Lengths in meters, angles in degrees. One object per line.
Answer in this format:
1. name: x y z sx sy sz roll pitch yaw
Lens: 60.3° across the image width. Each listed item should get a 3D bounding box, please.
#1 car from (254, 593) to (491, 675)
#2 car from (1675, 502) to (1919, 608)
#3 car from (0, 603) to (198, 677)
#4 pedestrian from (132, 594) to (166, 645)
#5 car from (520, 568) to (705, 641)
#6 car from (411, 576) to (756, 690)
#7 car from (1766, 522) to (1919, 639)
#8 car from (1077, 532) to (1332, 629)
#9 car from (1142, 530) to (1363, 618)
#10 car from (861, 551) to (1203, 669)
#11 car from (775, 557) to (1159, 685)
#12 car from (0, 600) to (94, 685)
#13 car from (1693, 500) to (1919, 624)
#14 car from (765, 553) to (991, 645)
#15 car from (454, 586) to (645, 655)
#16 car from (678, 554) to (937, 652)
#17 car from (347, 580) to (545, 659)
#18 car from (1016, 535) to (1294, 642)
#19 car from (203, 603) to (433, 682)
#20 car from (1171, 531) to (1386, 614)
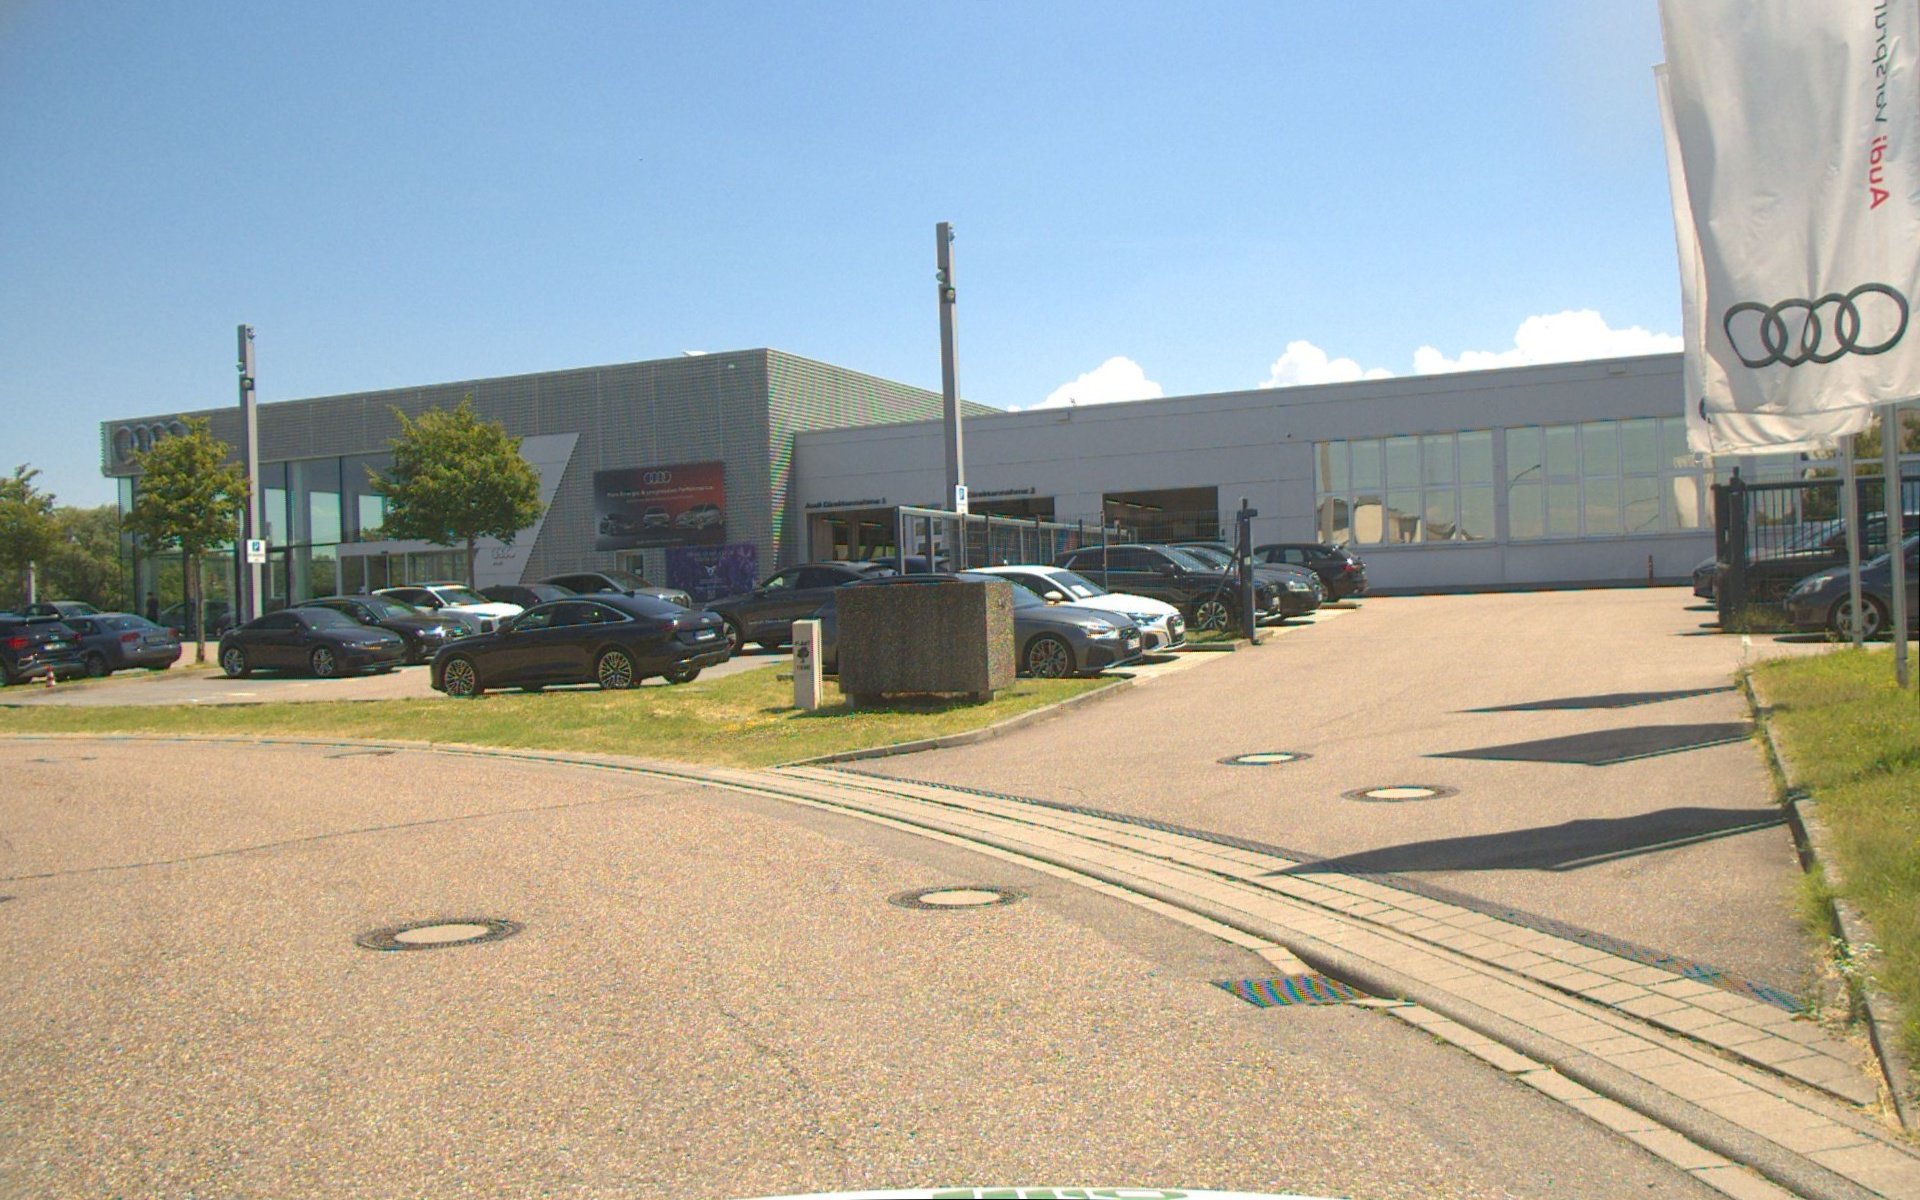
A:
1. car: -13.144 0.764 36.988 4.888 1.580 1.968 -2 1 23
2. car: 15.163 -0.809 29.284 4.517 1.658 1.968 -2 1 23
3. car: -19.471 0.897 37.140 4.128 1.390 1.968 -2 3 23
4. pedestrian: -29.683 0.719 60.503 0.728 1.807 0.772 -3 0 29
5. car: -9.572 0.132 45.565 4.617 1.769 1.968 -2 1 23
6. car: -5.753 0.510 25.263 4.905 1.480 1.885 -2 2 23
7. car: 12.427 -0.311 20.791 4.050 1.373 1.779 -3 1 26
8. car: 4.751 -0.379 32.132 4.517 1.658 1.968 -2 1 23
9. car: 6.251 -0.556 35.321 4.275 1.658 1.968 -2 1 23
10. car: 1.088 0.150 25.234 4.828 1.555 1.825 -2 1 23
11. car: 0.091 0.290 22.649 4.828 1.493 1.968 -2 1 23
12. car: -20.652 0.925 34.959 4.128 1.598 1.894 -2 2 23
13. car: 13.351 -0.591 24.429 4.517 1.658 1.968 -2 1 23
14. car: -1.708 -0.006 34.552 4.313 1.724 1.830 -2 0 23
15. car: -10.312 0.504 41.557 4.269 1.502 1.968 -2 1 23
16. car: -2.973 0.072 32.159 4.673 1.672 1.830 -2 0 23
17. car: -12.249 0.464 39.435 4.187 1.641 1.968 -2 1 23
18. car: 3.482 -0.204 29.564 4.517 1.658 1.968 -2 1 23
19. car: -13.310 0.875 34.316 4.210 1.398 1.968 -2 1 23
20. car: 7.333 -0.634 38.094 4.517 1.658 1.968 -2 1 23
